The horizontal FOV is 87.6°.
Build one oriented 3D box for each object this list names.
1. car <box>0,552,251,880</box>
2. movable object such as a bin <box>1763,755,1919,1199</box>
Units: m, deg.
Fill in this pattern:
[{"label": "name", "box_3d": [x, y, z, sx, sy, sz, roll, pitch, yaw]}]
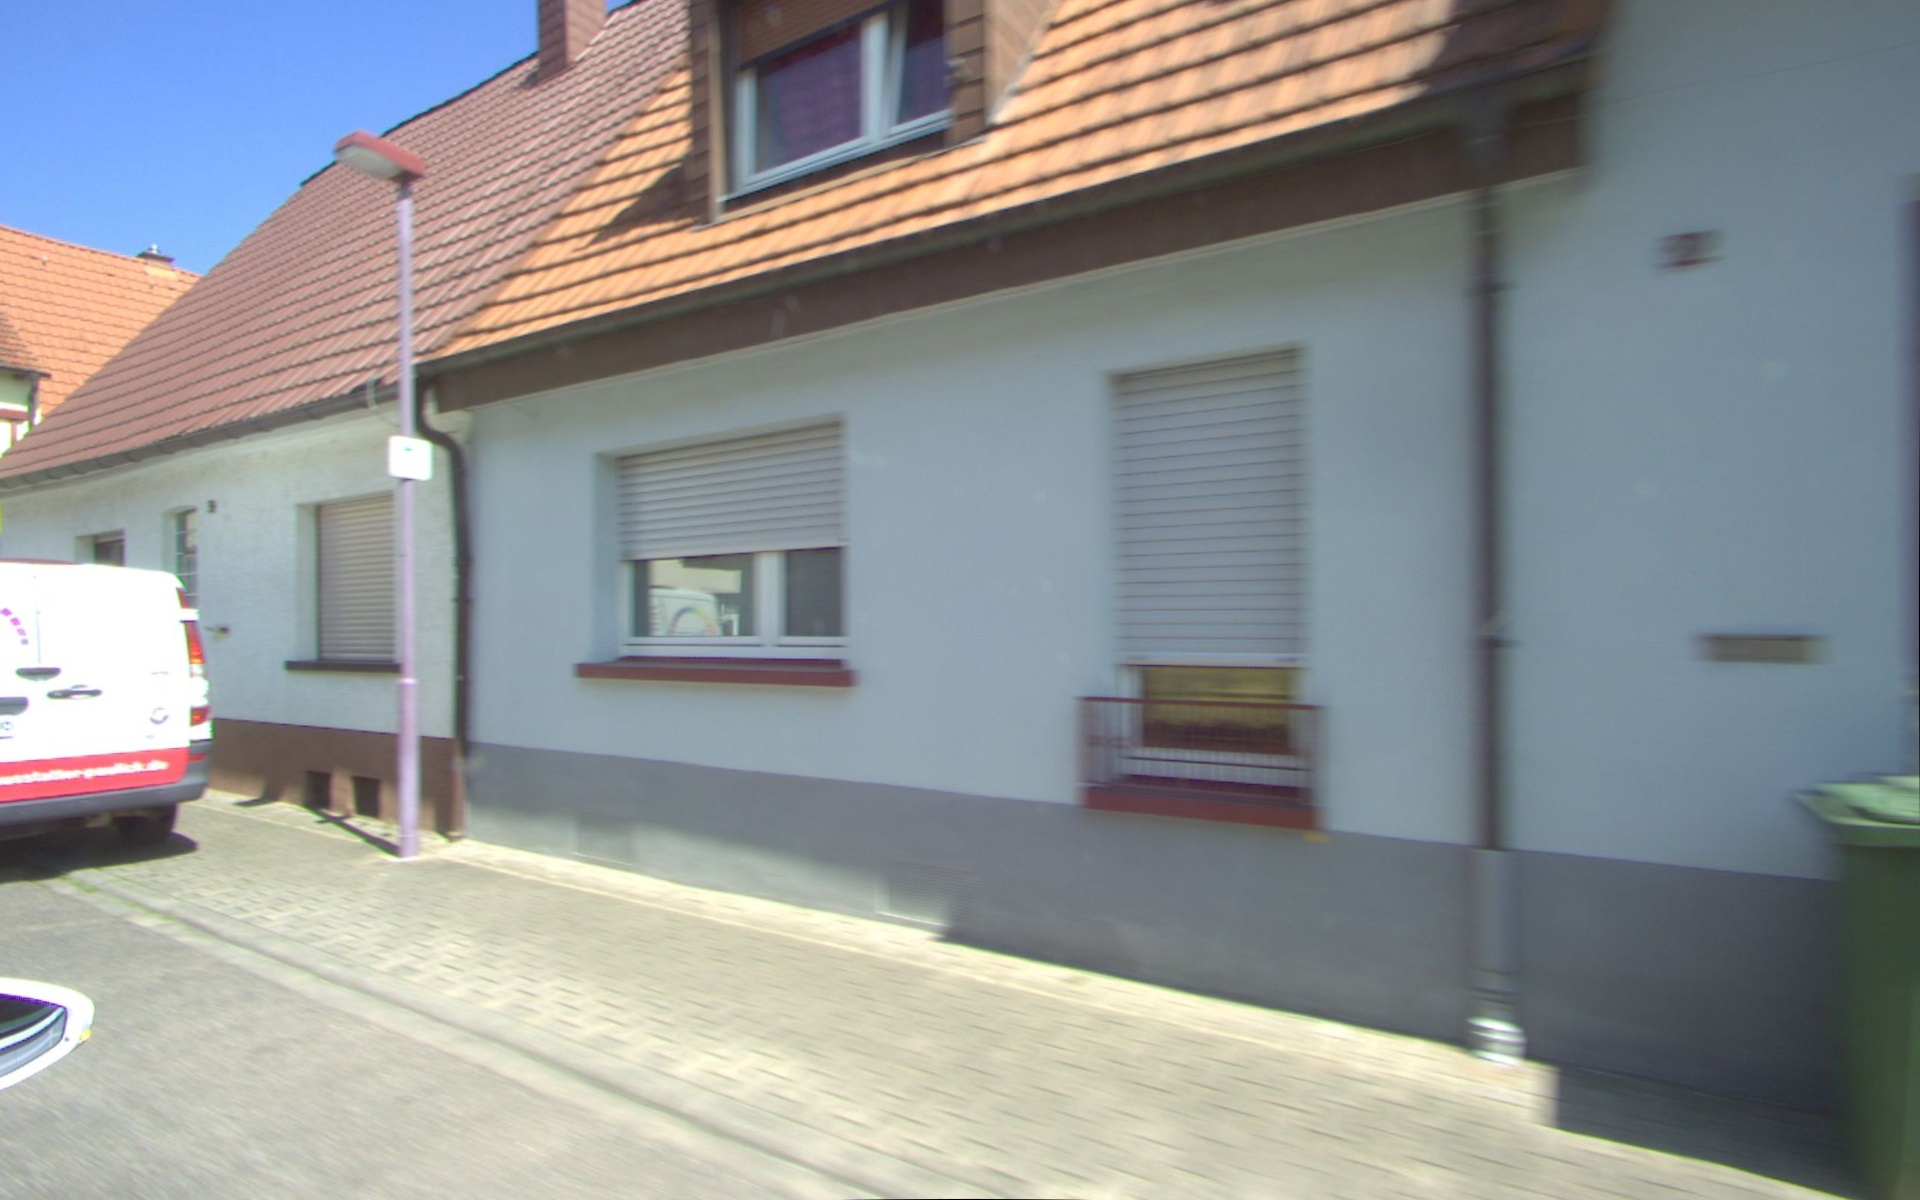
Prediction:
[{"label": "car", "box_3d": [-7.494, 0.714, 7.304, 5.191, 1.862, 2.009, -1, -2, 33]}, {"label": "movable object such as a bin", "box_3d": [2.645, 1.006, 2.584, 0.801, 1.085, 0.657, 0, -1, 31]}]
